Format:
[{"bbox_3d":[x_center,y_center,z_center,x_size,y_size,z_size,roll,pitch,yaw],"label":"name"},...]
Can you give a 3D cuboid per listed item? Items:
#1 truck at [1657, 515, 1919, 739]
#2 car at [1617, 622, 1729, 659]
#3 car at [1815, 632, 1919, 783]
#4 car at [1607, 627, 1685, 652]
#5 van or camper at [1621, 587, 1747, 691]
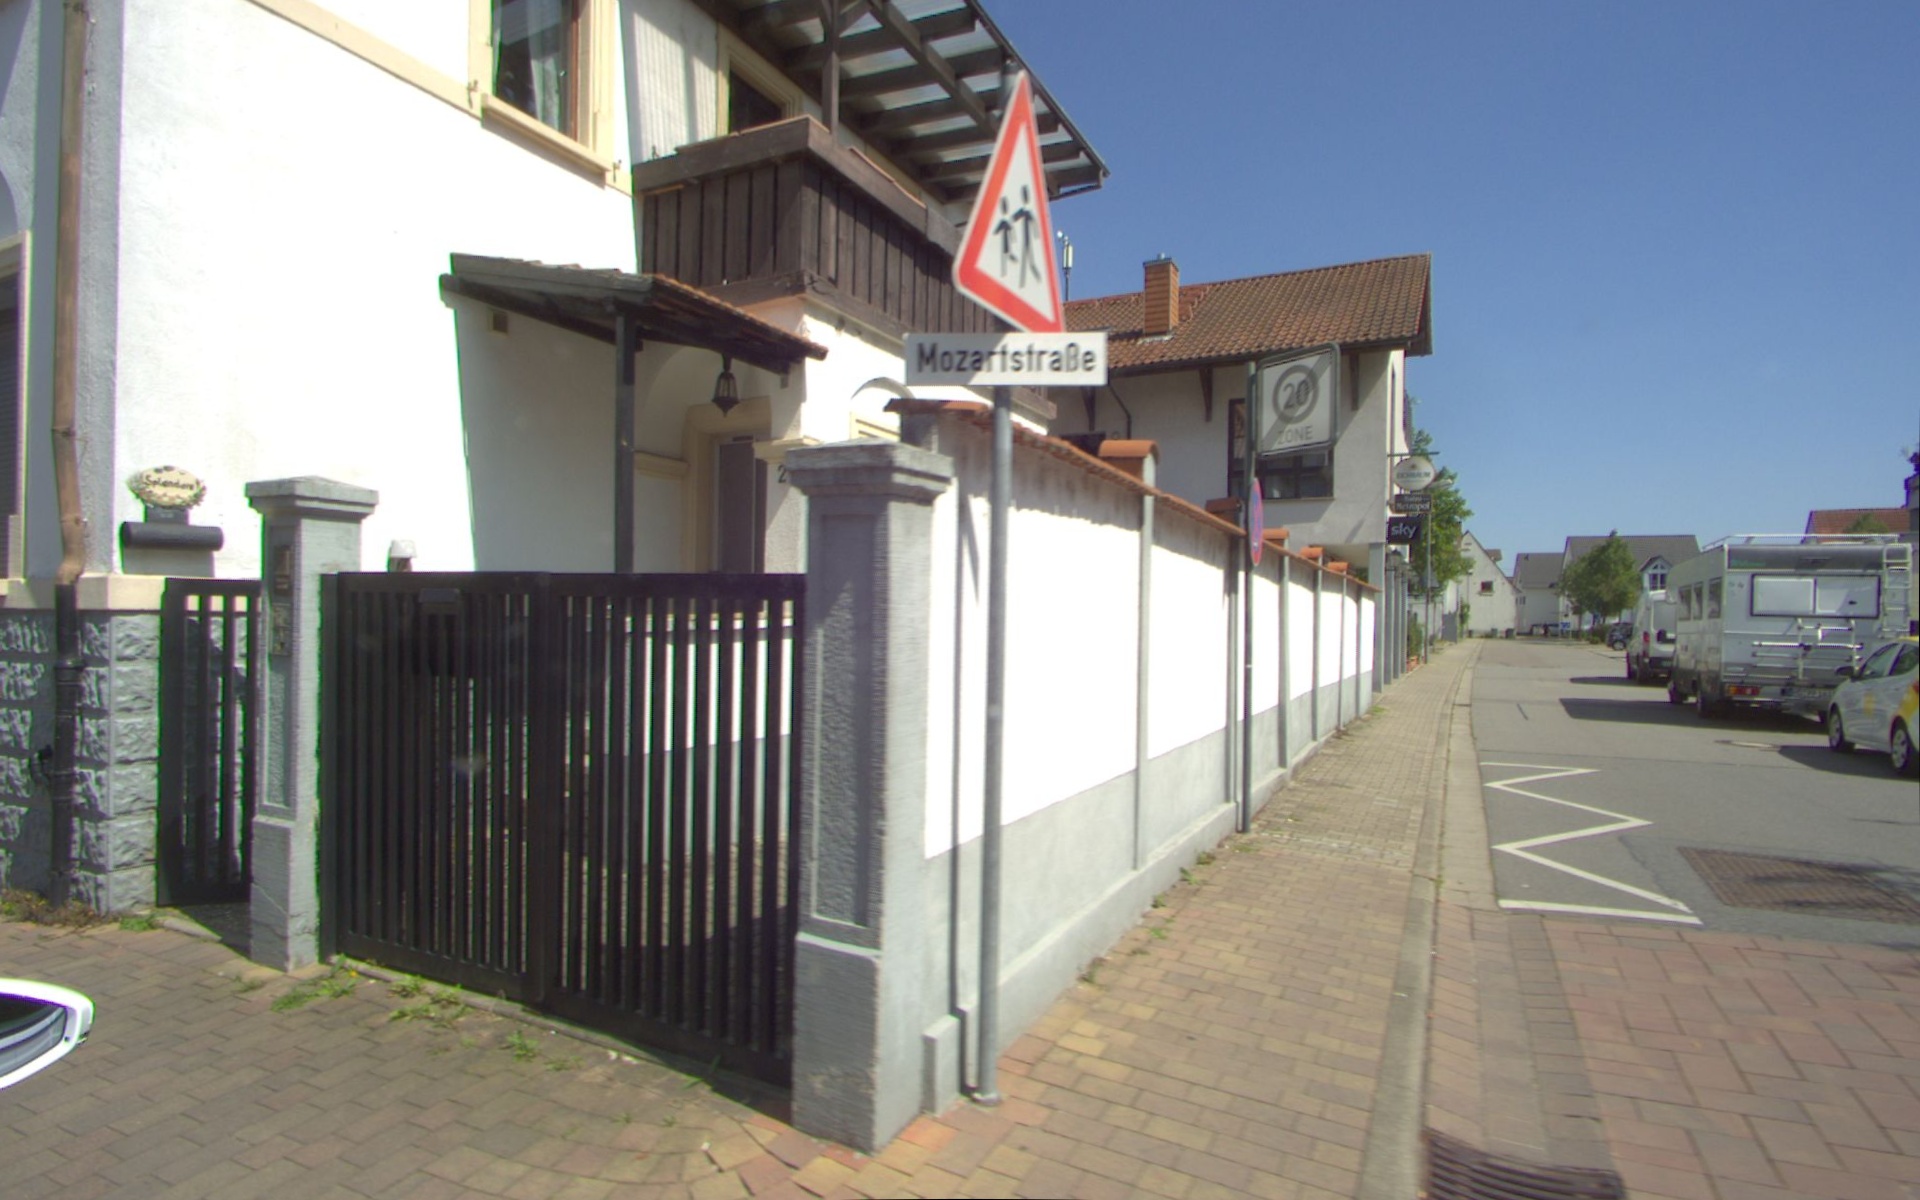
[{"bbox_3d":[13.742,0.455,16.974,2.506,3.044,6.380,1,-1,29],"label":"truck"},{"bbox_3d":[32.606,1.851,45.925,3.869,1.596,1.655,0,-2,21],"label":"car"},{"bbox_3d":[10.997,1.121,11.019,1.629,1.471,3.613,1,-1,28],"label":"car"},{"bbox_3d":[39.230,2.258,57.359,3.452,1.329,1.389,0,-1,21],"label":"car"},{"bbox_3d":[19.118,0.998,26.658,2.037,2.510,4.656,0,-1,28],"label":"van or camper"}]
